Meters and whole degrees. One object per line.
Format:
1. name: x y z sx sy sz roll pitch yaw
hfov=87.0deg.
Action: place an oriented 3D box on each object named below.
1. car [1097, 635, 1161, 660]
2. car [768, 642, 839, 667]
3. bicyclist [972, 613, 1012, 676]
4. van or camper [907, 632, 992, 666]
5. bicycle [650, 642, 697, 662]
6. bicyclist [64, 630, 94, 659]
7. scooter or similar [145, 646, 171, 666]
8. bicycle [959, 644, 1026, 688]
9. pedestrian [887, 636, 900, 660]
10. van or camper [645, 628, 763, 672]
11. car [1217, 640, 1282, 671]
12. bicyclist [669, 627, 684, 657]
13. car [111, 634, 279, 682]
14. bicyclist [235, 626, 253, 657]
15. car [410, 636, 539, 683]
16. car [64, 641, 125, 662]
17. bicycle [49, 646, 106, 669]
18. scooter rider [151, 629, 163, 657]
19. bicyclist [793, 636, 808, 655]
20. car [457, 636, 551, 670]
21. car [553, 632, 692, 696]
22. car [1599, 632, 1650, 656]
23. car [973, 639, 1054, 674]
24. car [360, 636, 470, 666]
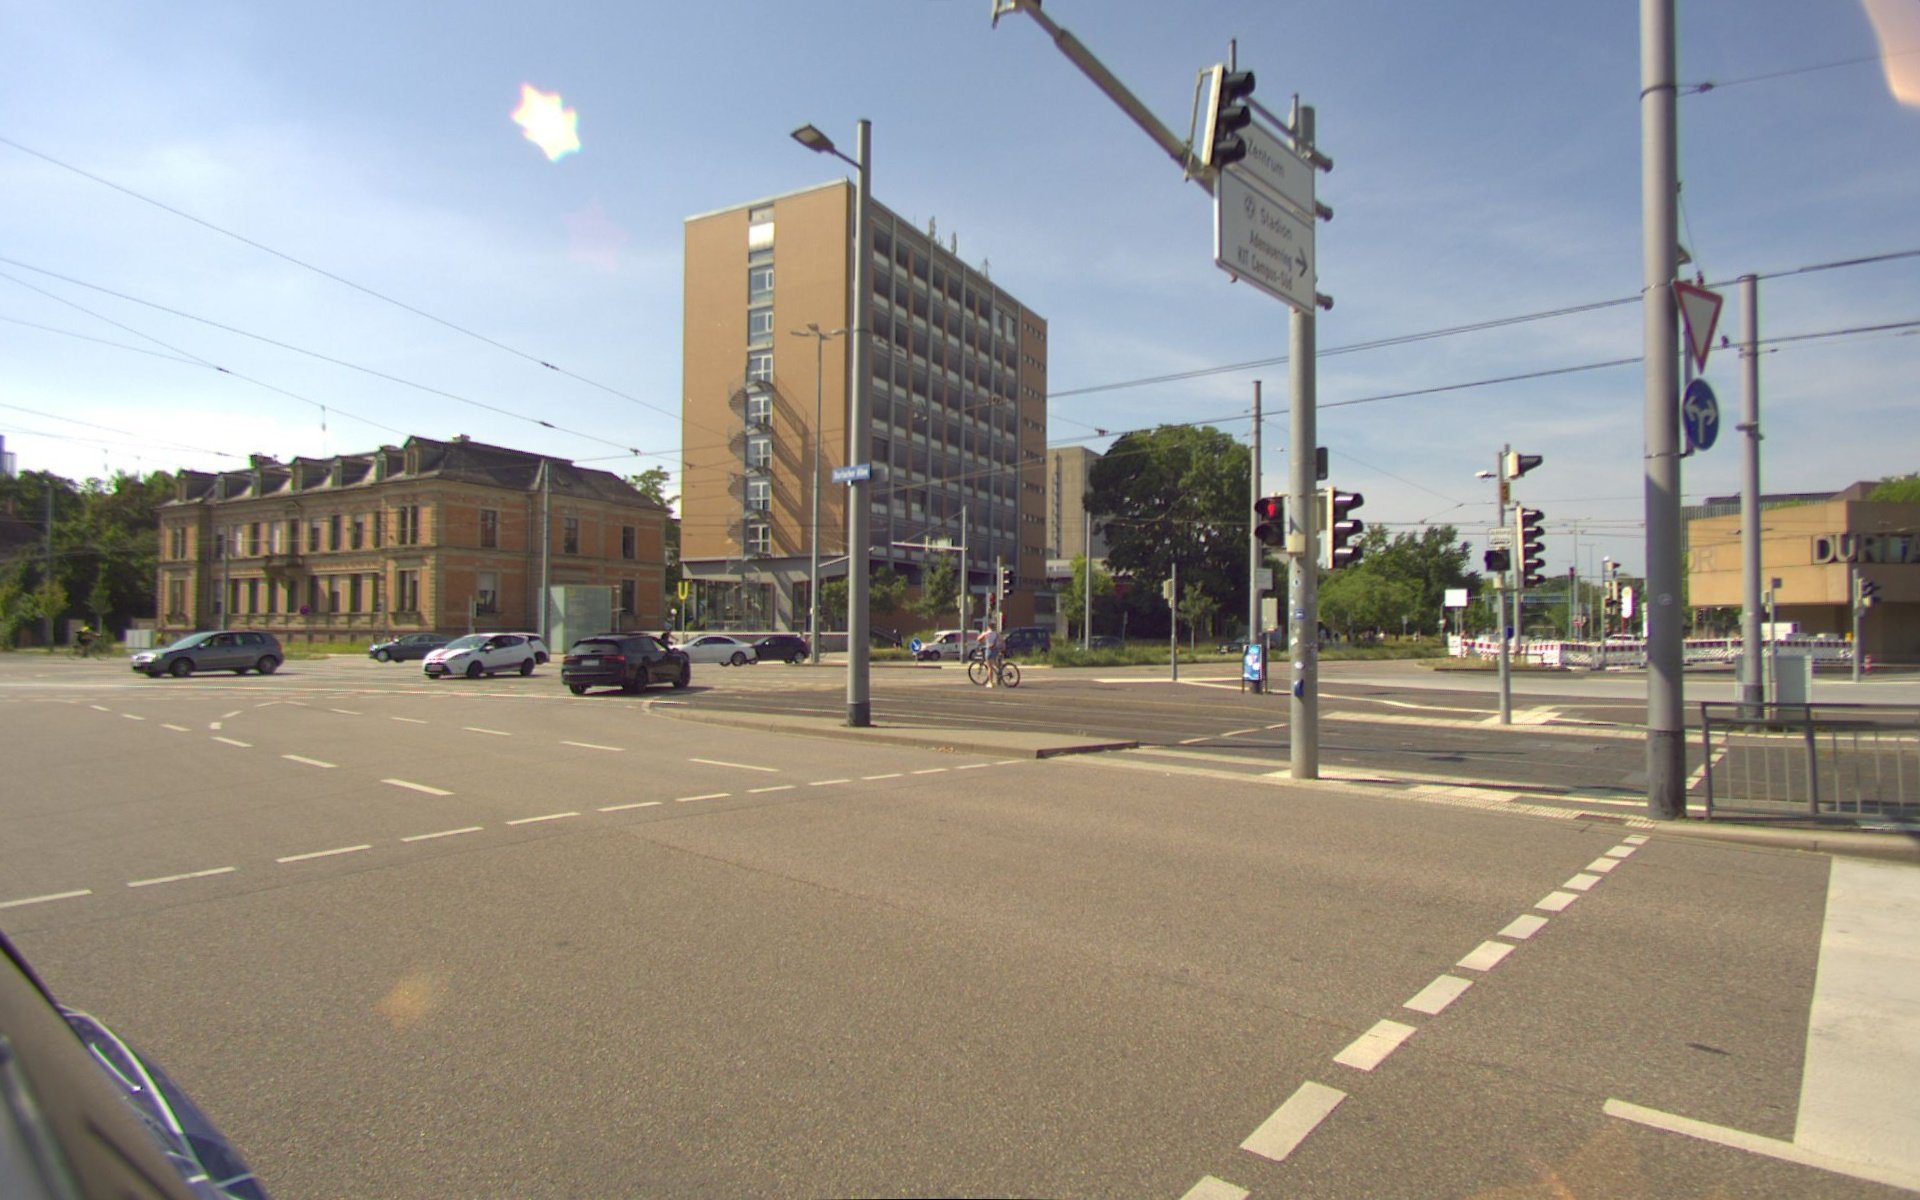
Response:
1. car: 11.151 3.114 66.769 3.934 1.630 1.915 2 -2 -36
2. car: -8.465 2.942 54.761 3.519 1.305 1.414 1 -2 -26
3. bicyclist: 0.884 1.218 27.882 0.740 1.697 0.777 2 -1 -42
4. van or camper: -0.579 2.842 59.352 4.840 1.902 1.735 1 -3 -35
5. bicycle: -15.948 2.899 56.372 2.424 1.077 0.670 0 -2 -8
6. bicyclist: -43.786 2.212 50.309 0.894 1.431 0.687 0 -4 -21
7. scooter or similar: -41.613 2.921 52.507 0.975 0.983 0.590 1 -4 -32
8. bicycle: 0.882 1.787 27.852 0.740 1.092 1.851 2 -1 -42
9. pedestrian: -4.693 3.403 71.494 0.719 1.676 0.595 1 -1 -32
10. van or camper: -11.581 2.254 45.814 4.838 1.902 1.926 1 -3 -30
11. car: 18.401 3.509 64.323 4.362 1.896 2.002 2 -3 -43
12. bicyclist: -15.762 2.338 56.285 0.770 1.636 0.670 0 -1 -8
13. car: -24.820 1.865 32.999 1.644 1.435 4.080 -3 -4 28
14. bicyclist: -37.361 2.169 52.835 0.638 1.633 0.503 1 -4 -27
15. car: -15.596 1.888 32.730 1.641 1.425 3.842 -1 -2 16
16. car: -54.430 3.214 63.623 3.433 1.323 1.658 -1 -2 25
17. bicycle: -43.787 2.845 50.255 1.991 1.077 0.687 0 -4 -21
18. scooter rider: -41.663 2.238 52.523 0.400 1.408 0.590 1 -4 -32
19. bicyclist: -9.110 2.580 57.925 0.707 1.036 0.916 0 0 2
20. car: -20.970 2.395 46.571 3.697 1.486 1.687 1 -2 -35
21. car: -8.407 1.583 25.645 1.738 1.467 4.416 0 -3 5
22. car: 42.516 2.818 64.743 3.939 1.431 1.805 2 -5 -43
23. car: 2.895 3.013 54.399 3.933 1.807 1.970 1 -2 -34
24. car: -26.557 2.471 49.420 4.458 1.446 1.638 0 -2 -7
